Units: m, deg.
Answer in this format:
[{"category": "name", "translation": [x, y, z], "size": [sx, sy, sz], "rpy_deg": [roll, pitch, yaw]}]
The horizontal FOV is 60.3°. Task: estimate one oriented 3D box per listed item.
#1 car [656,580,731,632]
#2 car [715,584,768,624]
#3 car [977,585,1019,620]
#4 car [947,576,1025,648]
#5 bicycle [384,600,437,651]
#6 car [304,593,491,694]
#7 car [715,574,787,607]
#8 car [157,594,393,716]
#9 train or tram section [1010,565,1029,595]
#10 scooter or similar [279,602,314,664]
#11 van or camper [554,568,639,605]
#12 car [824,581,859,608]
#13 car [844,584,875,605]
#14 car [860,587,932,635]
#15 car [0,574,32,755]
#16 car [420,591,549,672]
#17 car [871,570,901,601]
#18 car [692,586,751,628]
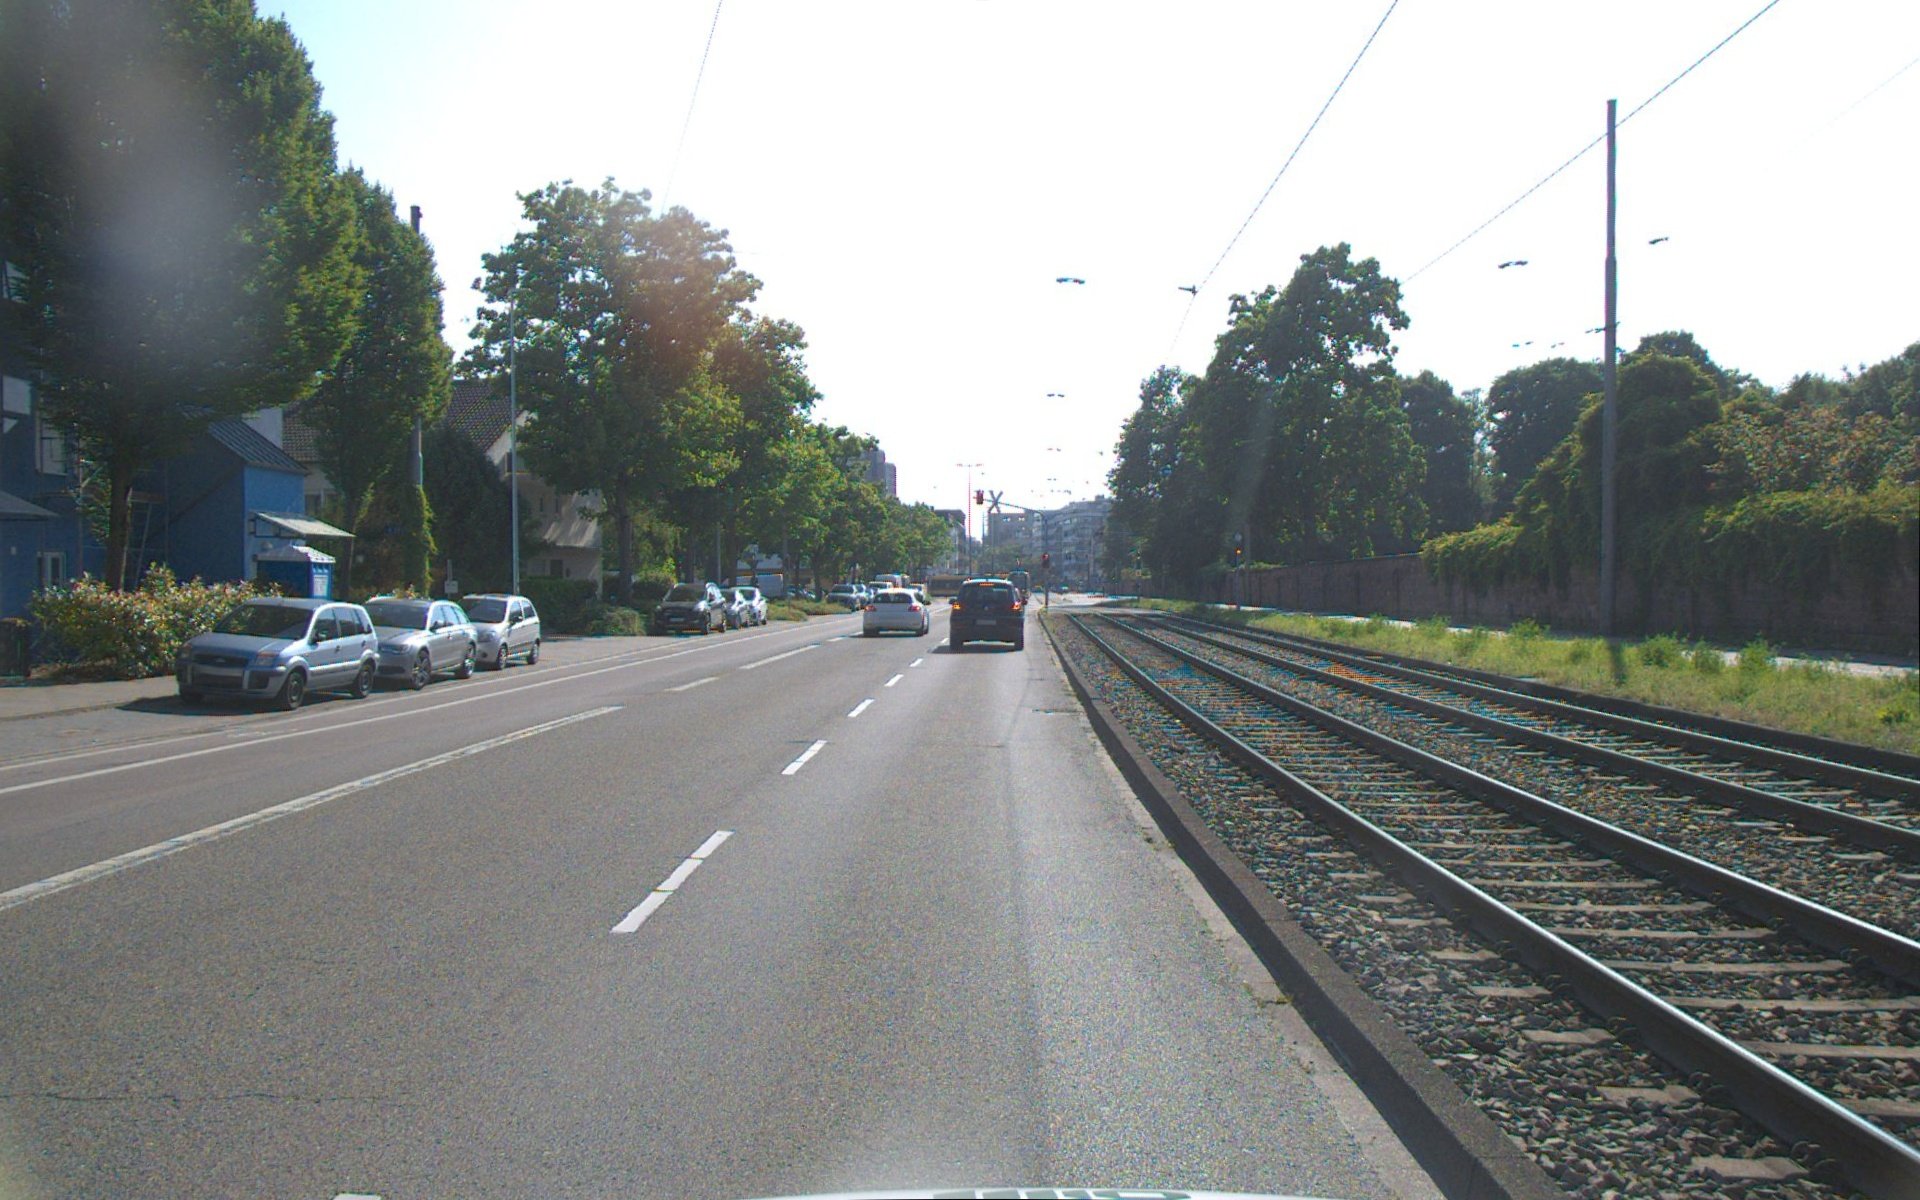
[{"category": "car", "translation": [-9.148, 0.168, 57.142], "size": [1.676, 1.723, 4.424], "rpy_deg": [0, 1, 3]}, {"category": "car", "translation": [-9.024, 0.128, 68.572], "size": [1.567, 1.577, 3.895], "rpy_deg": [1, 1, 1]}, {"category": "car", "translation": [1.702, 0.083, 72.718], "size": [1.774, 1.474, 4.001], "rpy_deg": [1, 1, 2]}, {"category": "car", "translation": [0.682, 0.258, 40.545], "size": [1.773, 1.673, 4.001], "rpy_deg": [0, 0, 2]}, {"category": "bicycle", "translation": [-13.041, 0.595, 39.298], "size": [0.434, 1.174, 1.786], "rpy_deg": [-1, 0, 9]}, {"category": "car", "translation": [-10.122, 0.718, 30.157], "size": [1.713, 1.537, 4.755], "rpy_deg": [4, 1, 0]}, {"category": "car", "translation": [-16.309, -0.761, 129.163], "size": [5.263, 2.466, 2.088], "rpy_deg": [-1, 0, 2]}, {"category": "car", "translation": [-10.344, 0.766, 25.318], "size": [1.726, 1.565, 3.983], "rpy_deg": [4, 1, 2]}, {"category": "train or tram section", "translation": [7.510, -2.514, 209.723], "size": [2.278, 3.632, 8.903], "rpy_deg": [-1, 1, 3]}, {"category": "scooter or similar", "translation": [-12.997, 0.630, 32.413], "size": [0.288, 1.174, 1.042], "rpy_deg": [-1, 0, -2]}, {"category": "van or camper", "translation": [-29.488, -1.085, 134.403], "size": [6.328, 2.918, 2.308], "rpy_deg": [0, 0, 3]}, {"category": "car", "translation": [-7.569, -0.380, 105.774], "size": [1.695, 1.686, 4.002], "rpy_deg": [-1, 1, 4]}, {"category": "car", "translation": [-7.120, -0.422, 117.749], "size": [1.695, 1.413, 3.737], "rpy_deg": [-1, 1, 4]}, {"category": "car", "translation": [-1.863, 0.293, 49.545], "size": [1.826, 1.371, 4.002], "rpy_deg": [0, 1, 2]}, {"category": "car", "translation": [-10.851, 0.647, 15.363], "size": [1.727, 1.877, 4.580], "rpy_deg": [4, 1, 0]}, {"category": "car", "translation": [-10.156, 0.637, 35.564], "size": [1.568, 1.520, 3.510], "rpy_deg": [4, 1, 2]}, {"category": "car", "translation": [-6.035, -1.199, 135.599], "size": [1.824, 2.388, 4.987], "rpy_deg": [-1, 1, 4]}, {"category": "car", "translation": [-9.023, 0.247, 62.848], "size": [1.642, 1.494, 3.968], "rpy_deg": [0, 1, 0]}]
